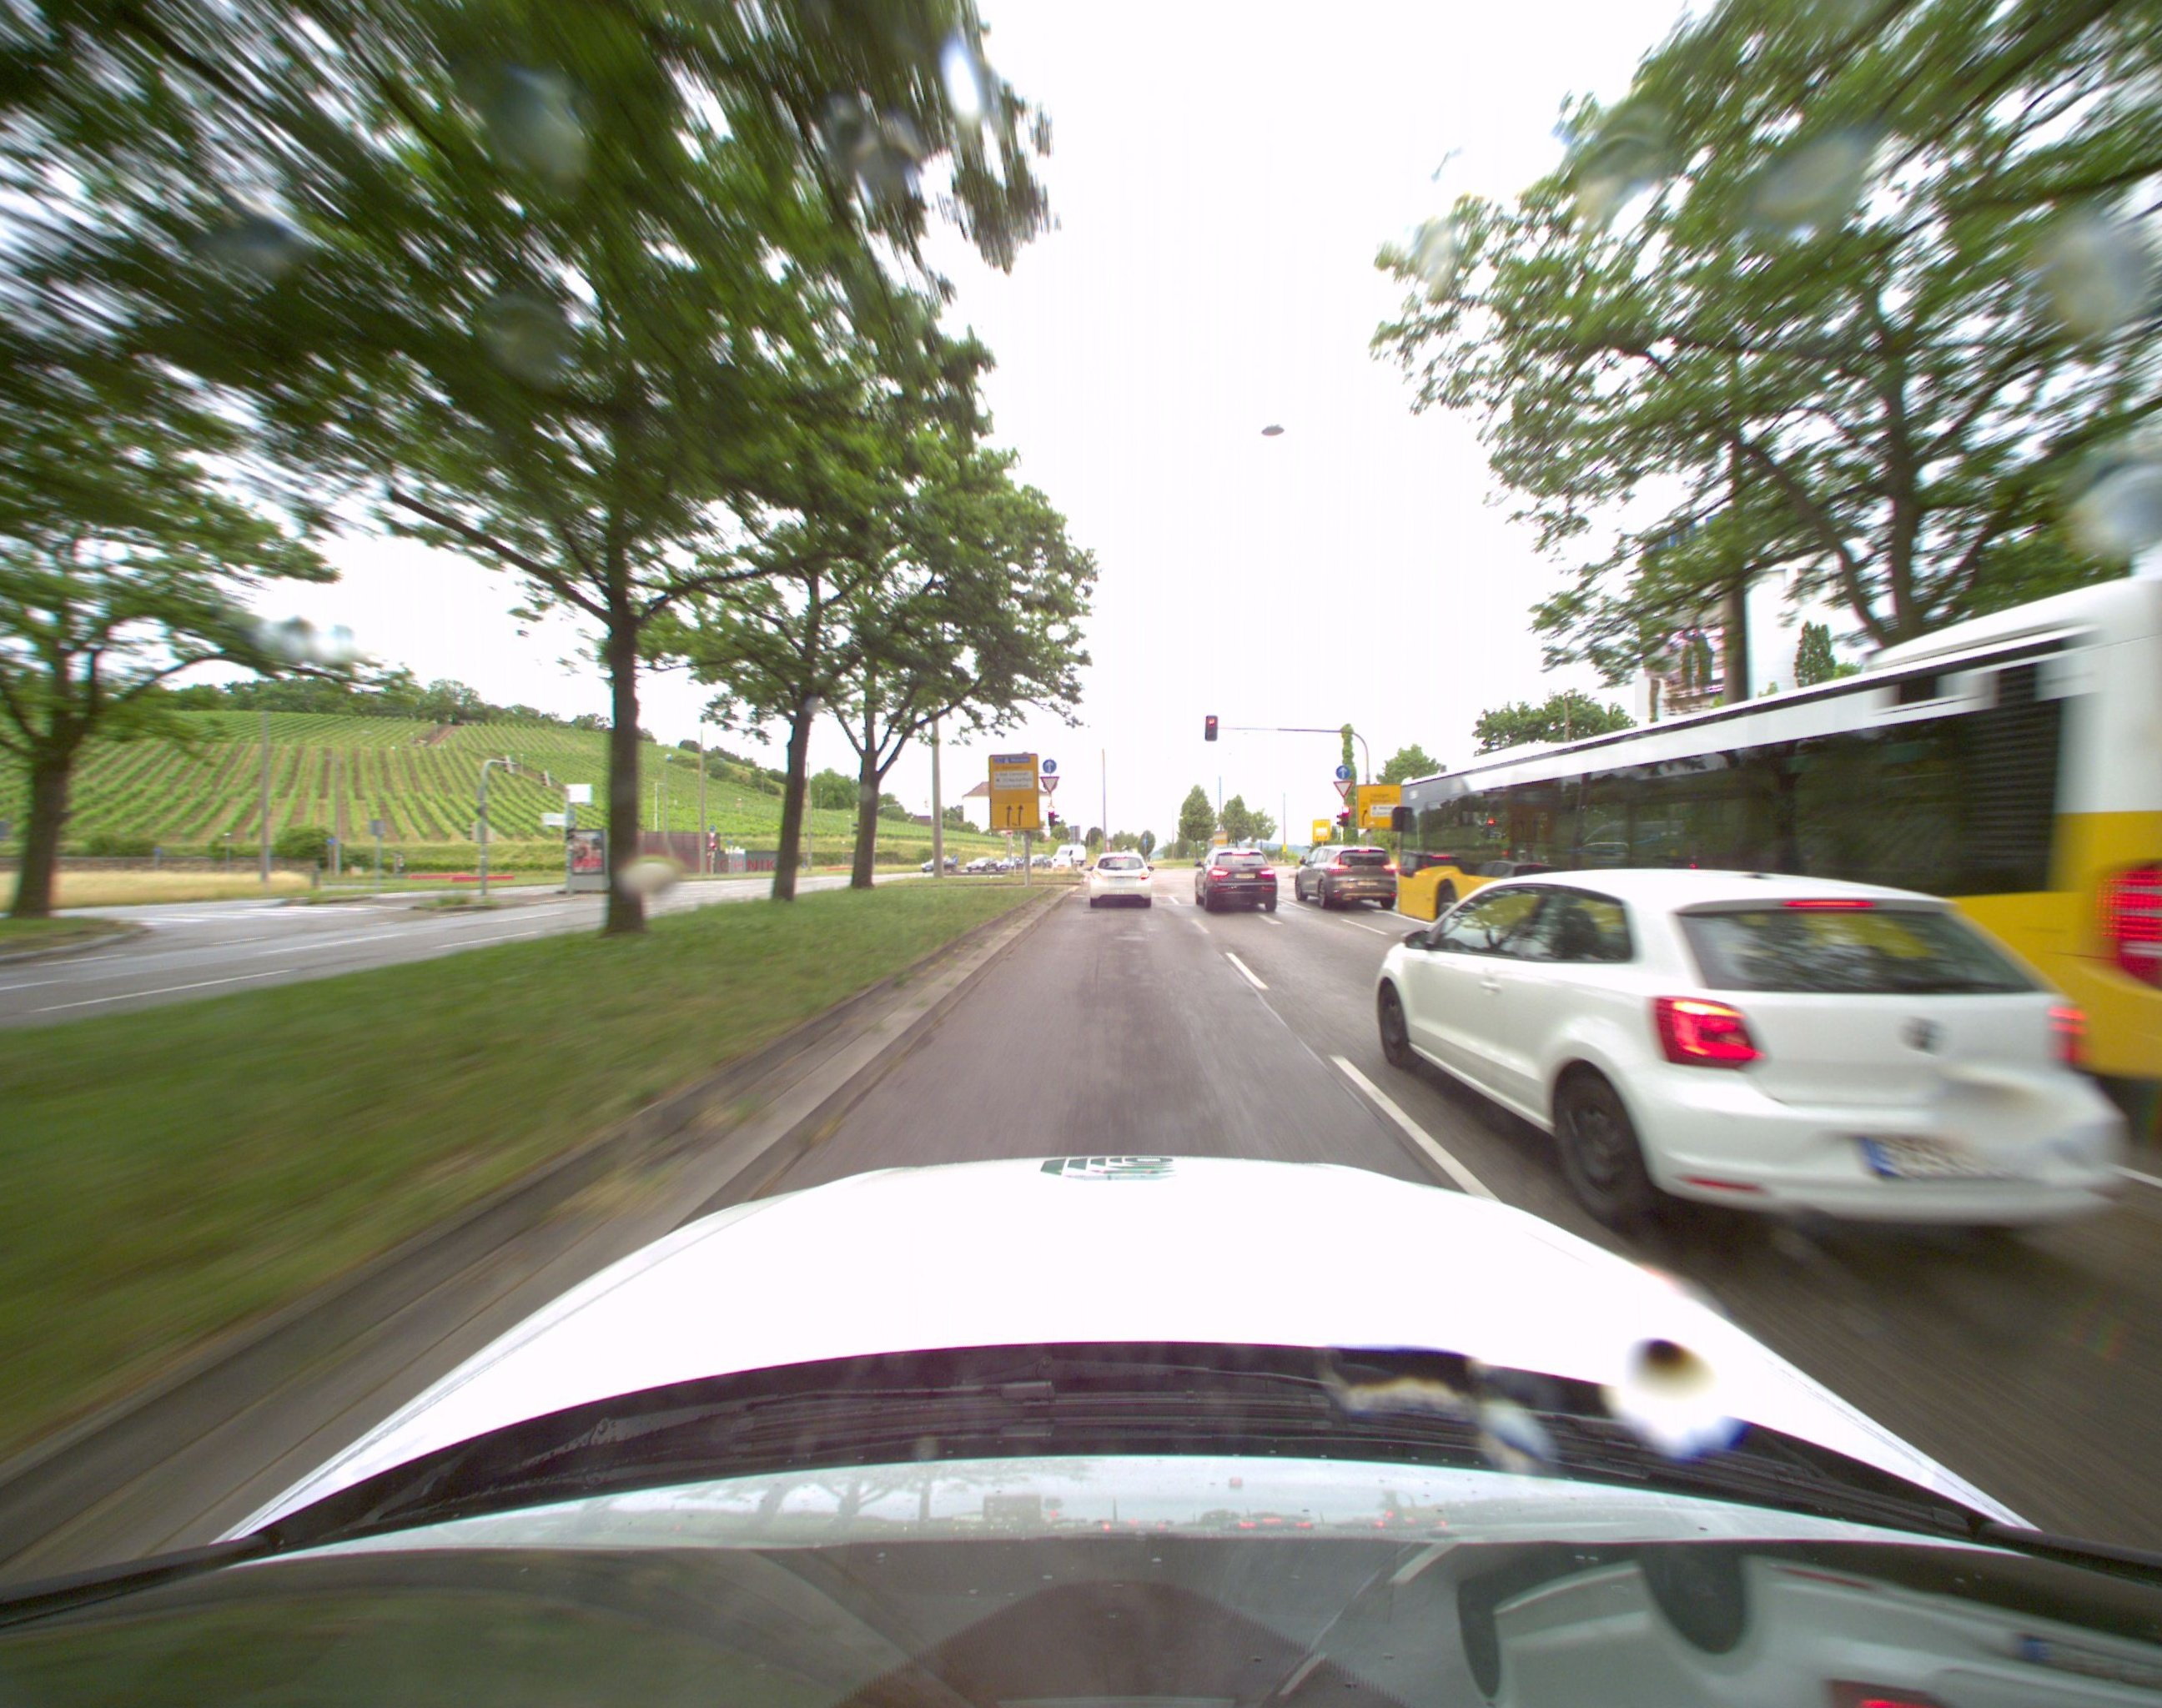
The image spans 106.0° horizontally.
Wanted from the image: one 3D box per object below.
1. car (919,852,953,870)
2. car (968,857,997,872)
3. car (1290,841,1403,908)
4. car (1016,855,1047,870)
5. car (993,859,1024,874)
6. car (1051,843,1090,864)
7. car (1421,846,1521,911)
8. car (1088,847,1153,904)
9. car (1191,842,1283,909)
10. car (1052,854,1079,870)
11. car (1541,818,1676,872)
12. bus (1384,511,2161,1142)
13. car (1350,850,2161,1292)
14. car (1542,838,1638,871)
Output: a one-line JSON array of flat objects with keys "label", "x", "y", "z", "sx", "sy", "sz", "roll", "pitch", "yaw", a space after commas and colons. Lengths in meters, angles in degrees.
[{"label": "car", "x": -13.980, "y": 0.689, "z": 78.842, "sx": 1.818, "sy": 1.623, "sz": 4.578, "roll": 1, "pitch": 0, "yaw": 9}, {"label": "car", "x": -9.652, "y": 1.045, "z": 80.127, "sx": 1.776, "sy": 1.395, "sz": 3.891, "roll": 0, "pitch": -1, "yaw": 9}, {"label": "car", "x": 7.230, "y": 0.479, "z": 22.677, "sx": 1.858, "sy": 1.674, "sz": 4.568, "roll": 0, "pitch": 1, "yaw": 2}, {"label": "car", "x": -5.081, "y": 0.924, "z": 84.473, "sx": 1.888, "sy": 1.489, "sz": 4.908, "roll": 1, "pitch": 0, "yaw": 12}, {"label": "car", "x": -6.869, "y": 1.199, "z": 77.952, "sx": 1.774, "sy": 1.395, "sz": 3.896, "roll": 0, "pitch": -1, "yaw": 14}, {"label": "car", "x": -1.274, "y": -0.066, "z": 101.669, "sx": 1.975, "sy": 2.559, "sz": 6.207, "roll": 1, "pitch": -1, "yaw": 29}, {"label": "car", "x": 10.186, "y": 0.611, "z": 21.110, "sx": 1.847, "sy": 1.498, "sz": 4.177, "roll": -3, "pitch": -2, "yaw": 31}, {"label": "car", "x": 1.151, "y": 0.587, "z": 23.498, "sx": 1.711, "sy": 1.489, "sz": 4.003, "roll": 0, "pitch": 0, "yaw": 3}, {"label": "car", "x": 4.065, "y": 0.525, "z": 21.791, "sx": 1.876, "sy": 1.595, "sz": 4.117, "roll": 1, "pitch": 0, "yaw": 3}, {"label": "car", "x": -1.461, "y": 0.749, "z": 78.616, "sx": 1.765, "sy": 1.425, "sz": 4.384, "roll": -1, "pitch": -1, "yaw": 9}, {"label": "car", "x": 28.185, "y": -0.421, "z": 43.810, "sx": 5.953, "sy": 2.741, "sz": 2.094, "roll": 0, "pitch": -2, "yaw": 30}, {"label": "bus", "x": 7.024, "y": -0.176, "z": 10.071, "sx": 2.715, "sy": 3.152, "sz": 12.158, "roll": 1, "pitch": 1, "yaw": 4}, {"label": "car", "x": 2.970, "y": 0.732, "z": 4.610, "sx": 1.734, "sy": 1.432, "sz": 3.813, "roll": 1, "pitch": 0, "yaw": 2}, {"label": "car", "x": 25.908, "y": 0.055, "z": 41.642, "sx": 4.011, "sy": 1.569, "sz": 1.882, "roll": 0, "pitch": -2, "yaw": 27}]
